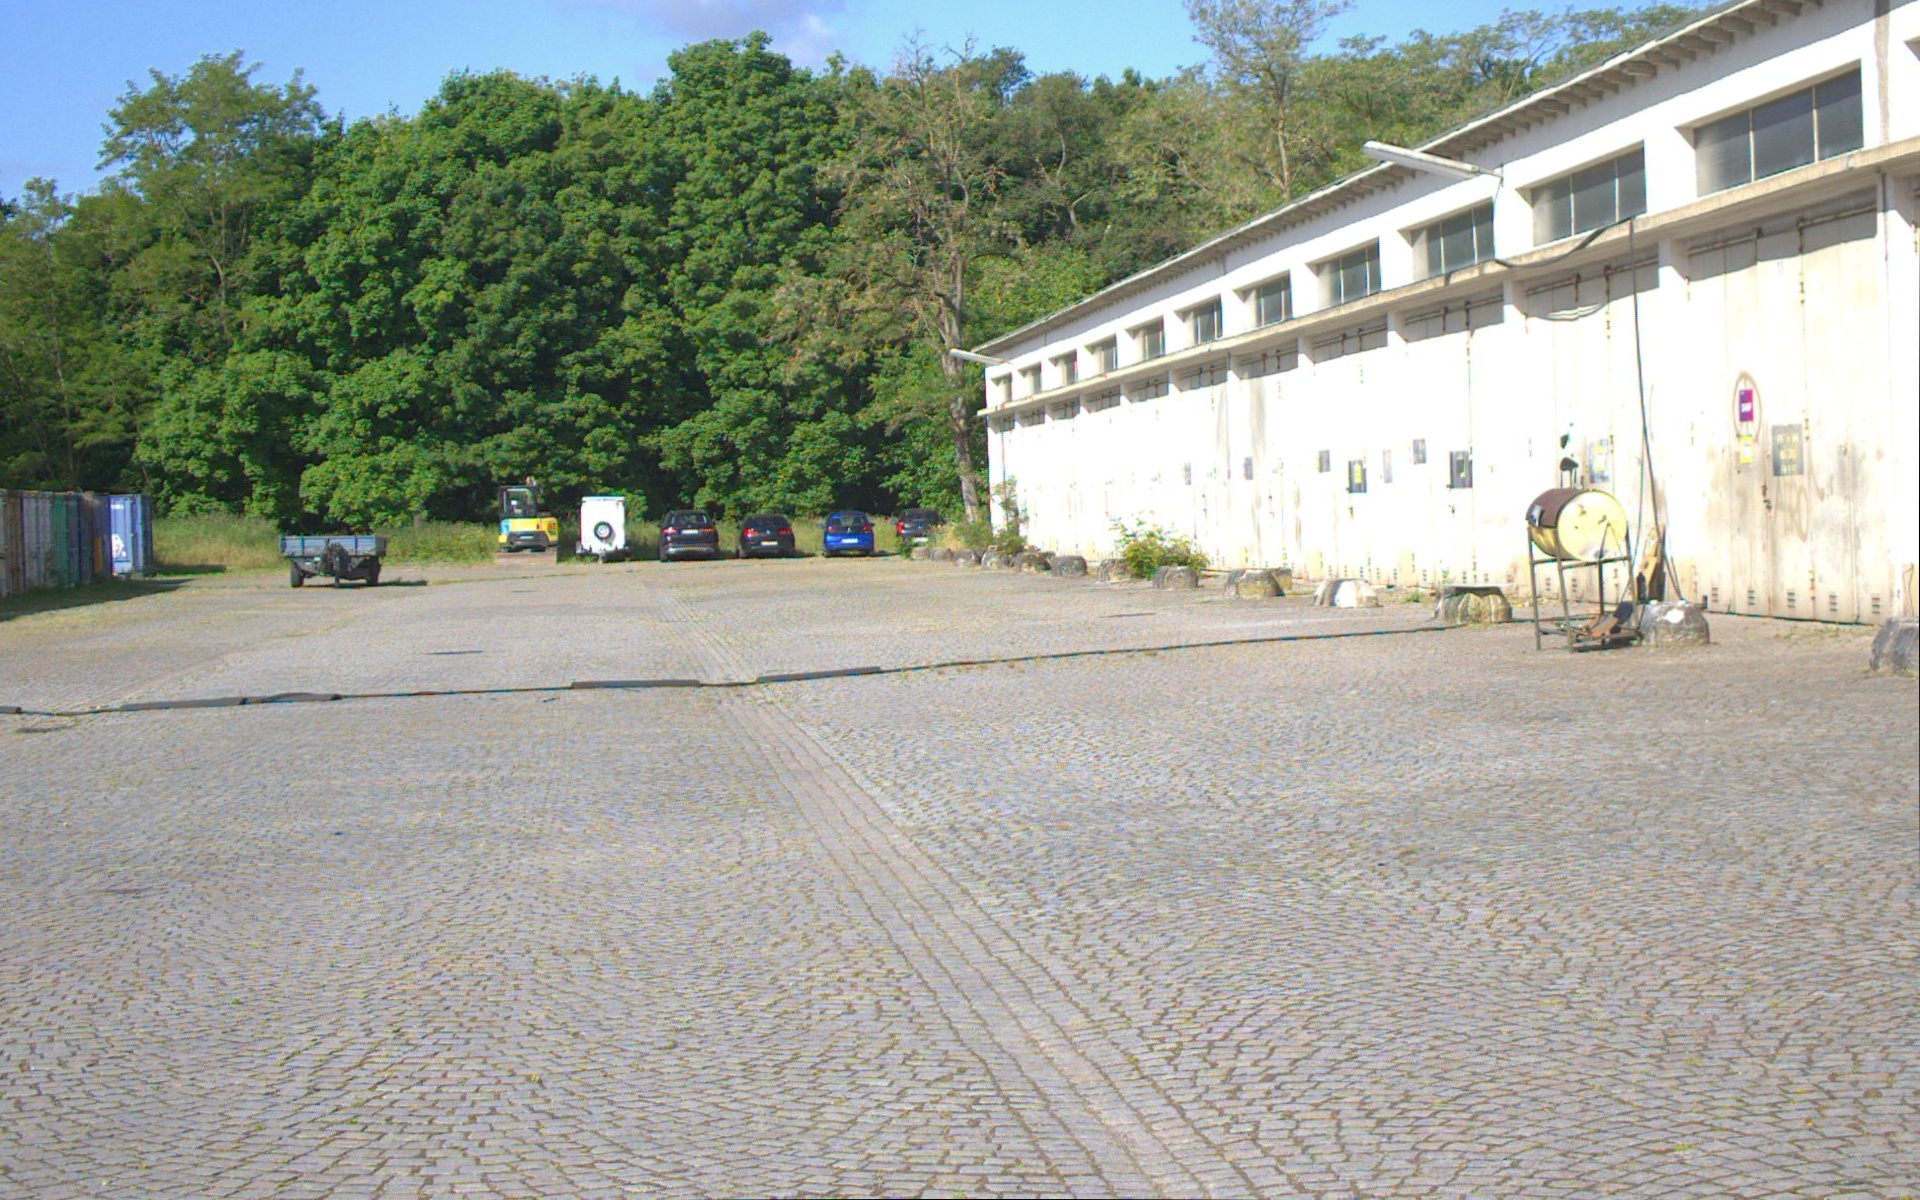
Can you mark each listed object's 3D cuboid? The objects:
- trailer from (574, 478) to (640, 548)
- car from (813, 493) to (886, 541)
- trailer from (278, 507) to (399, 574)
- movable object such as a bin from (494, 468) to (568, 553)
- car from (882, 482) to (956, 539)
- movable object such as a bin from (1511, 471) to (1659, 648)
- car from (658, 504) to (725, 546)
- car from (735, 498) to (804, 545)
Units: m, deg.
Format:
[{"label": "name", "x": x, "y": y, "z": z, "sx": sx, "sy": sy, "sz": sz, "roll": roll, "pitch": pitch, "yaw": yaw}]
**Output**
[{"label": "trailer", "x": -11.450, "y": -2.828, "z": 111.424, "sx": 1.993, "sy": 2.154, "sz": 4.433, "roll": -2, "pitch": 2, "yaw": -6}, {"label": "car", "x": -3.597, "y": -2.690, "z": 111.313, "sx": 1.993, "sy": 1.461, "sz": 4.001, "roll": -2, "pitch": 2, "yaw": -6}, {"label": "trailer", "x": -16.635, "y": -1.614, "z": 92.300, "sx": 2.791, "sy": 1.640, "sz": 5.622, "roll": -2, "pitch": 2, "yaw": -7}, {"label": "movable object such as a bin", "x": -13.984, "y": -2.912, "z": 111.938, "sx": 2.231, "sy": 2.648, "sz": 4.001, "roll": -2, "pitch": 2, "yaw": -8}, {"label": "car", "x": -1.379, "y": -2.933, "z": 112.772, "sx": 1.993, "sy": 1.766, "sz": 4.001, "roll": -2, "pitch": 2, "yaw": -6}, {"label": "movable object such as a bin", "x": 5.125, "y": -0.342, "z": 28.231, "sx": 0.875, "sy": 1.396, "sz": 1.102, "roll": -2, "pitch": 2, "yaw": -7}, {"label": "car", "x": -8.650, "y": -2.422, "z": 110.465, "sx": 1.993, "sy": 1.254, "sz": 4.001, "roll": -2, "pitch": 2, "yaw": -6}, {"label": "car", "x": -6.175, "y": -2.553, "z": 111.077, "sx": 1.993, "sy": 1.419, "sz": 4.001, "roll": -2, "pitch": 2, "yaw": -6}]
